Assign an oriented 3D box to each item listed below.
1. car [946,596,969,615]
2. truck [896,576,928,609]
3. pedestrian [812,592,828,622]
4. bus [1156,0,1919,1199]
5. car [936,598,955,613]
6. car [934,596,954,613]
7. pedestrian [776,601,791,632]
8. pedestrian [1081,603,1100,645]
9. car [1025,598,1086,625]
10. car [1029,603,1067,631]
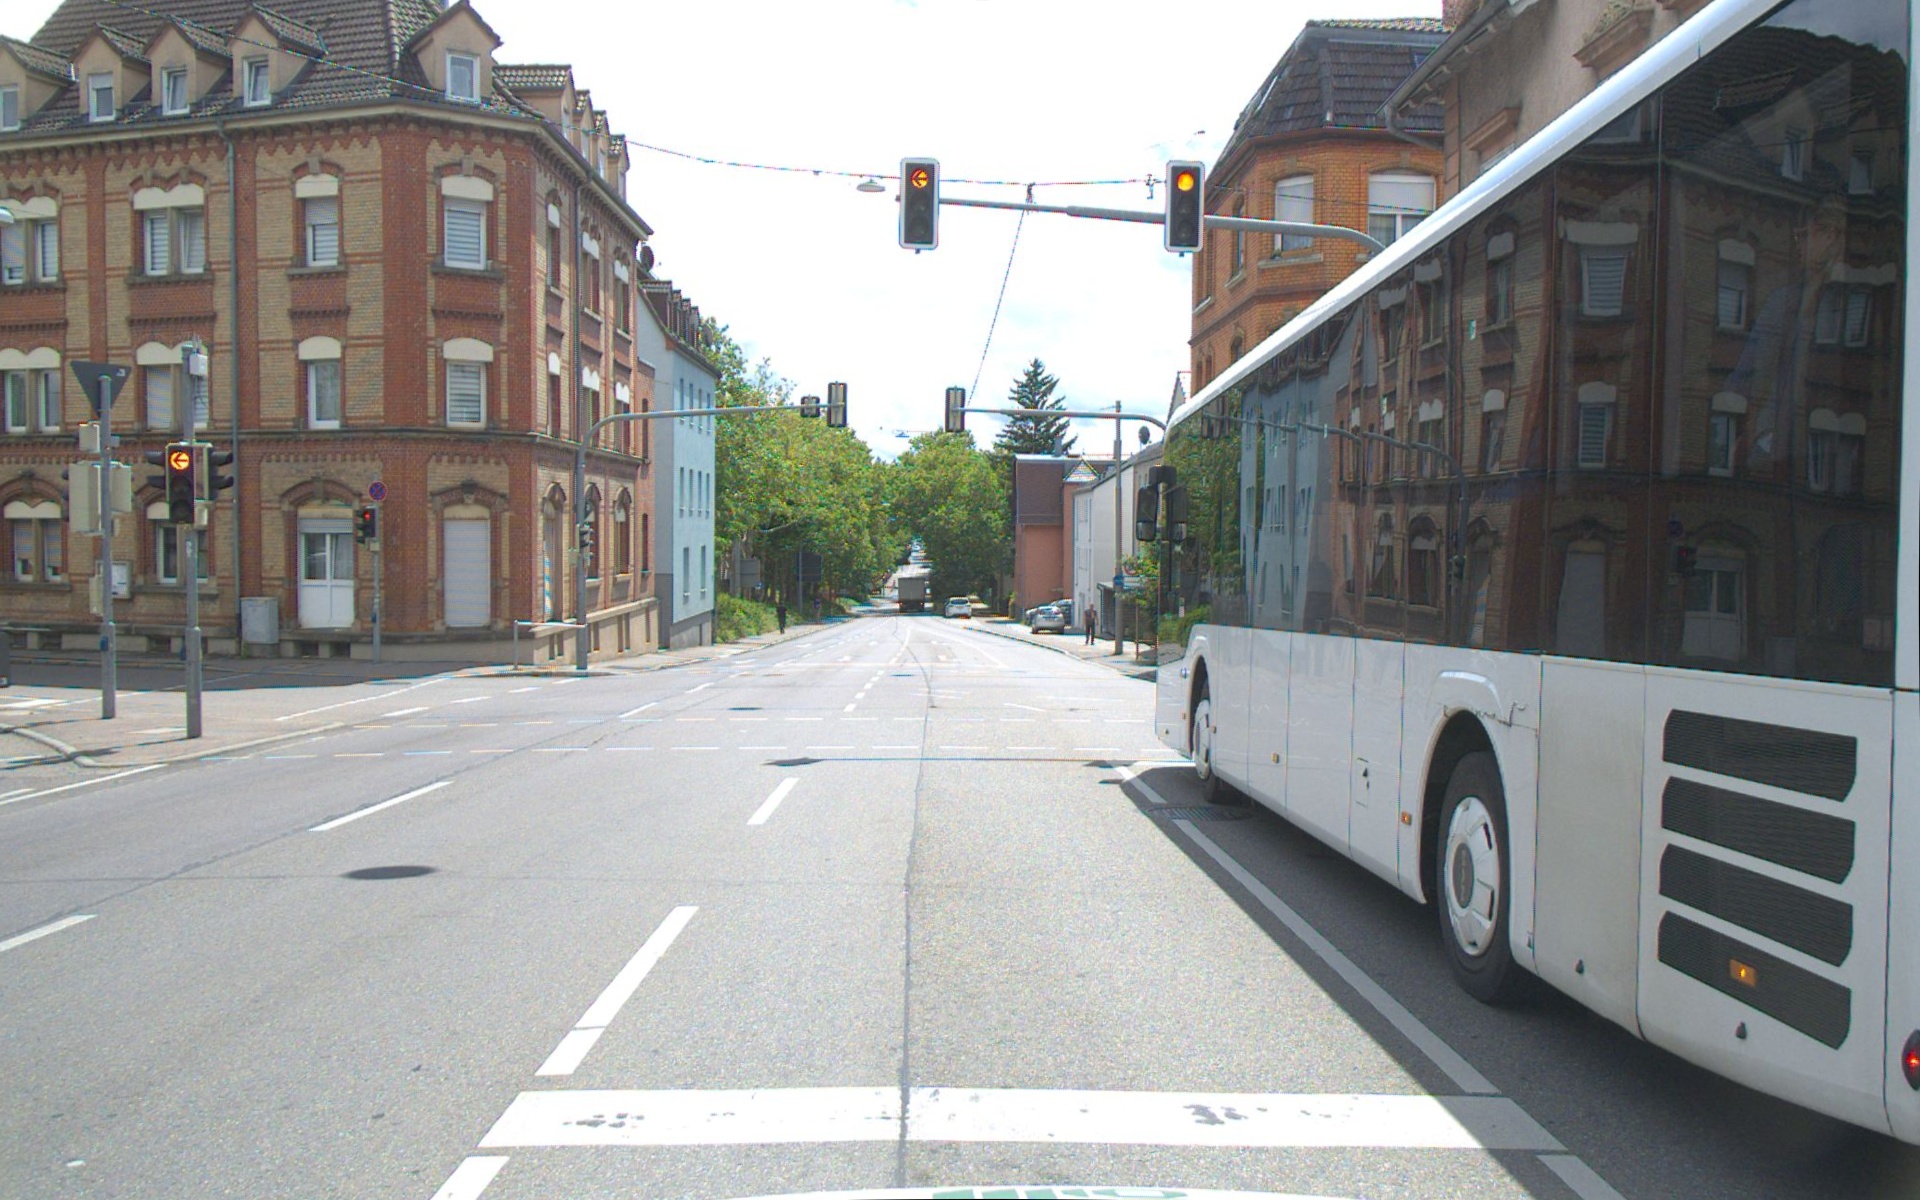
[{"bbox_3d":[-0.212,0.454,129.456,1.758,1.434,3.999,1,0,-1],"label":"car"},{"bbox_3d":[-4.748,-0.720,161.905,2.868,3.135,7.881,-1,0,-3],"label":"truck"},{"bbox_3d":[-9.754,0.493,115.266,0.974,2.049,1.188,0,0,-1],"label":"pedestrian"},{"bbox_3d":[3.230,-0.167,9.340,2.618,3.211,12.459,0,0,-1],"label":"bus"},{"bbox_3d":[-1.317,0.514,153.893,1.757,1.434,4.418,1,0,0],"label":"car"},{"bbox_3d":[-1.388,0.404,146.000,1.757,1.434,4.418,1,0,0],"label":"car"},{"bbox_3d":[-9.235,0.870,86.665,0.714,1.592,0.560,0,0,-2],"label":"pedestrian"},{"bbox_3d":[5.586,1.021,70.658,0.723,1.781,0.619,-1,0,-1],"label":"pedestrian"},{"bbox_3d":[6.499,0.779,113.244,3.909,1.788,1.998,-1,0,-6],"label":"car"},{"bbox_3d":[4.922,0.946,93.119,1.758,1.434,3.999,-1,1,-2],"label":"car"}]
